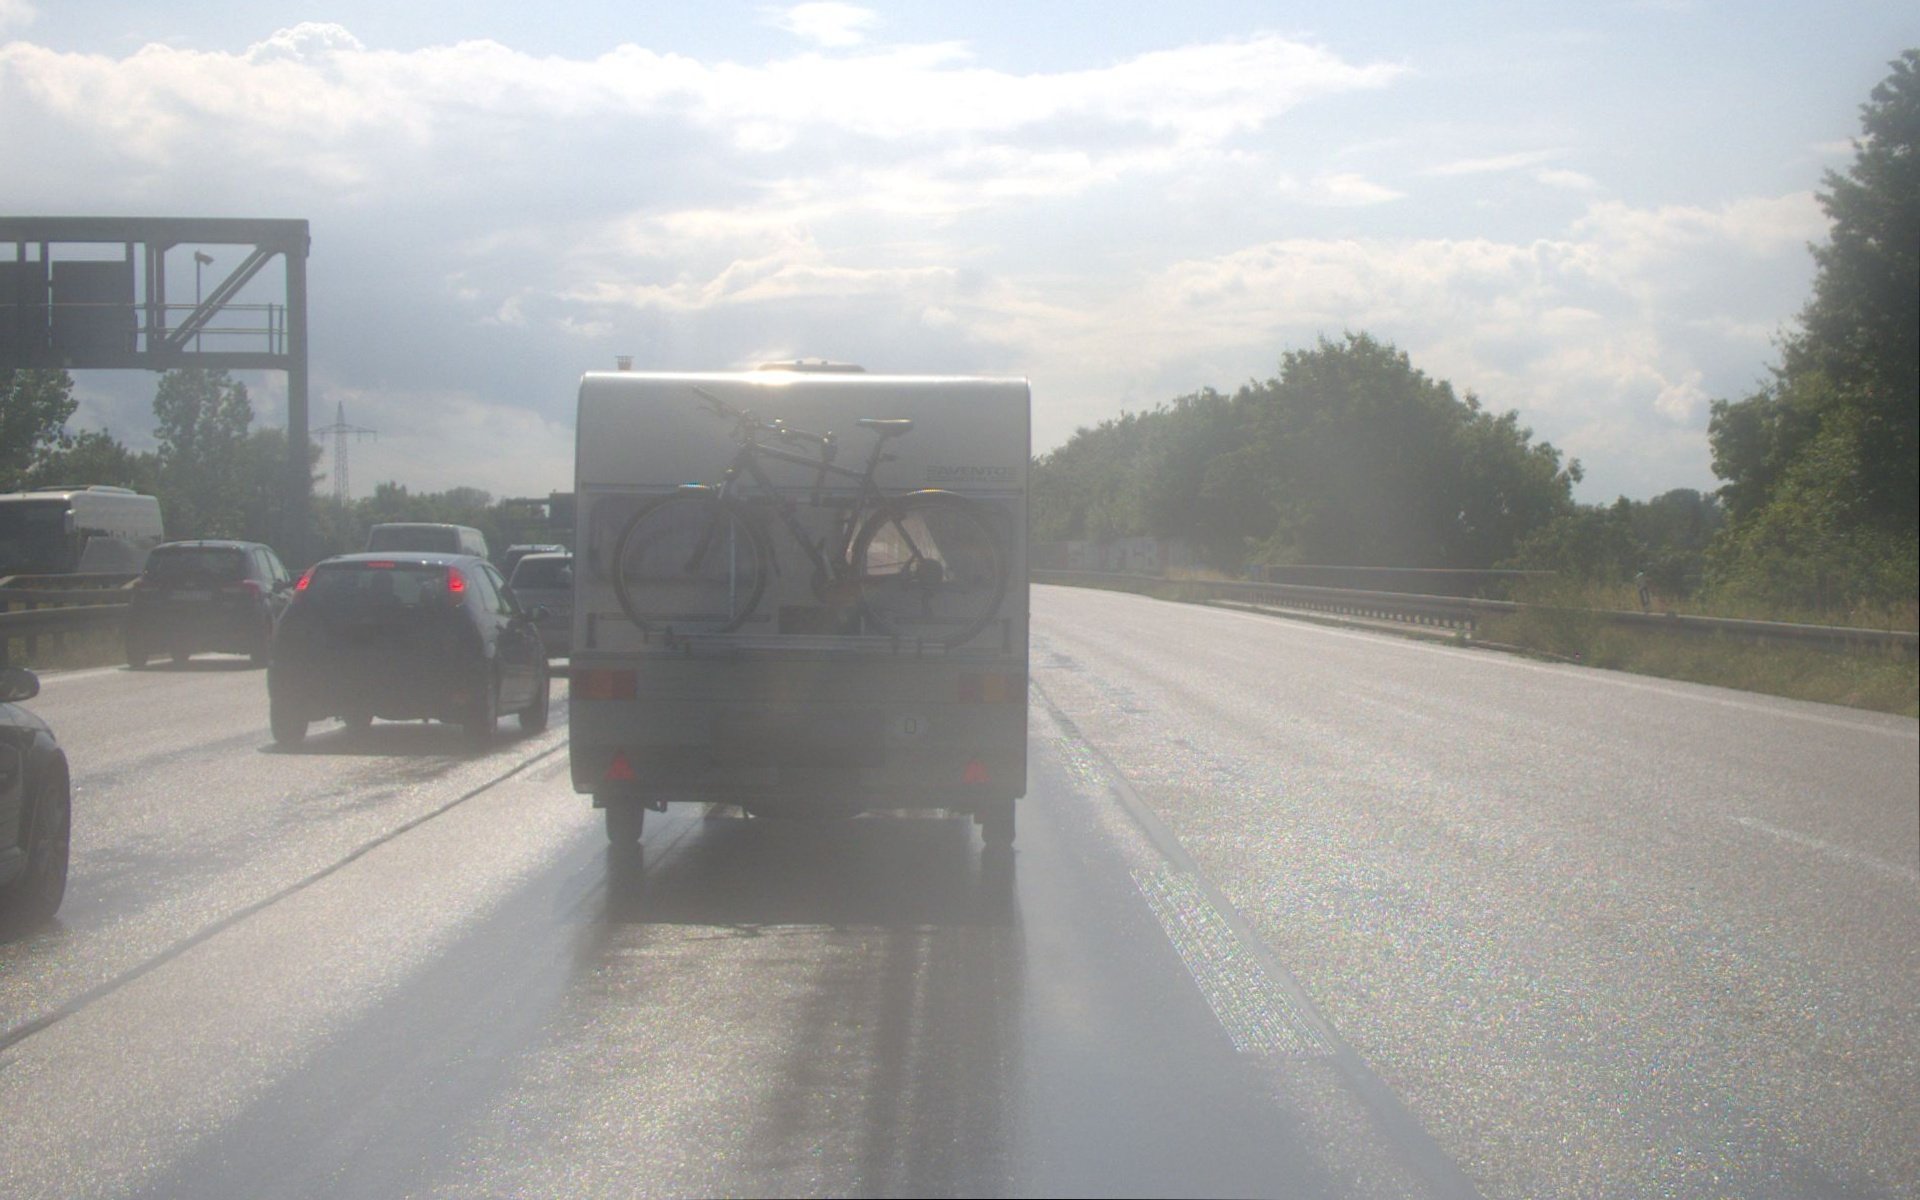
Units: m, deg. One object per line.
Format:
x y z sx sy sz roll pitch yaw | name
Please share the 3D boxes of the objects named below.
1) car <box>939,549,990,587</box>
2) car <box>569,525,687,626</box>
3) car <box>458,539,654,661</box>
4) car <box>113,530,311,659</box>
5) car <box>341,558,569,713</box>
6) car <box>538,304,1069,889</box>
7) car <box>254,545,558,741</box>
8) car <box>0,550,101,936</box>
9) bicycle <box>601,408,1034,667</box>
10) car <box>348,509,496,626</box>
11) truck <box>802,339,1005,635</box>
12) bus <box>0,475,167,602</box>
0.167 -1.360 144.134 1.835 1.552 4.001 1 1 -4 | car
-5.656 -0.435 58.896 1.689 1.656 3.641 0 1 -1 | car
-5.061 -0.035 43.528 1.987 1.453 3.826 0 1 0 | car
-9.593 -0.100 44.354 1.783 1.573 3.916 0 1 -1 | car
-5.184 0.326 35.750 1.863 1.503 4.000 0 1 -1 | car
-0.708 -0.038 17.847 2.410 2.665 4.000 1 1 0 | car
-4.357 0.289 27.572 1.758 1.438 4.000 0 1 0 | car
-4.443 0.538 12.296 1.750 1.428 4.054 0 1 0 | car
-0.639 -0.282 15.658 1.934 1.137 0.384 1 0 1 | bicycle
-9.284 -0.586 59.709 1.848 1.927 5.016 0 1 -1 | car
-1.005 -1.850 59.362 3.146 4.610 10.736 0 1 -1 | truck
-24.548 -1.687 94.968 2.939 3.275 12.213 0 1 -3 | bus
